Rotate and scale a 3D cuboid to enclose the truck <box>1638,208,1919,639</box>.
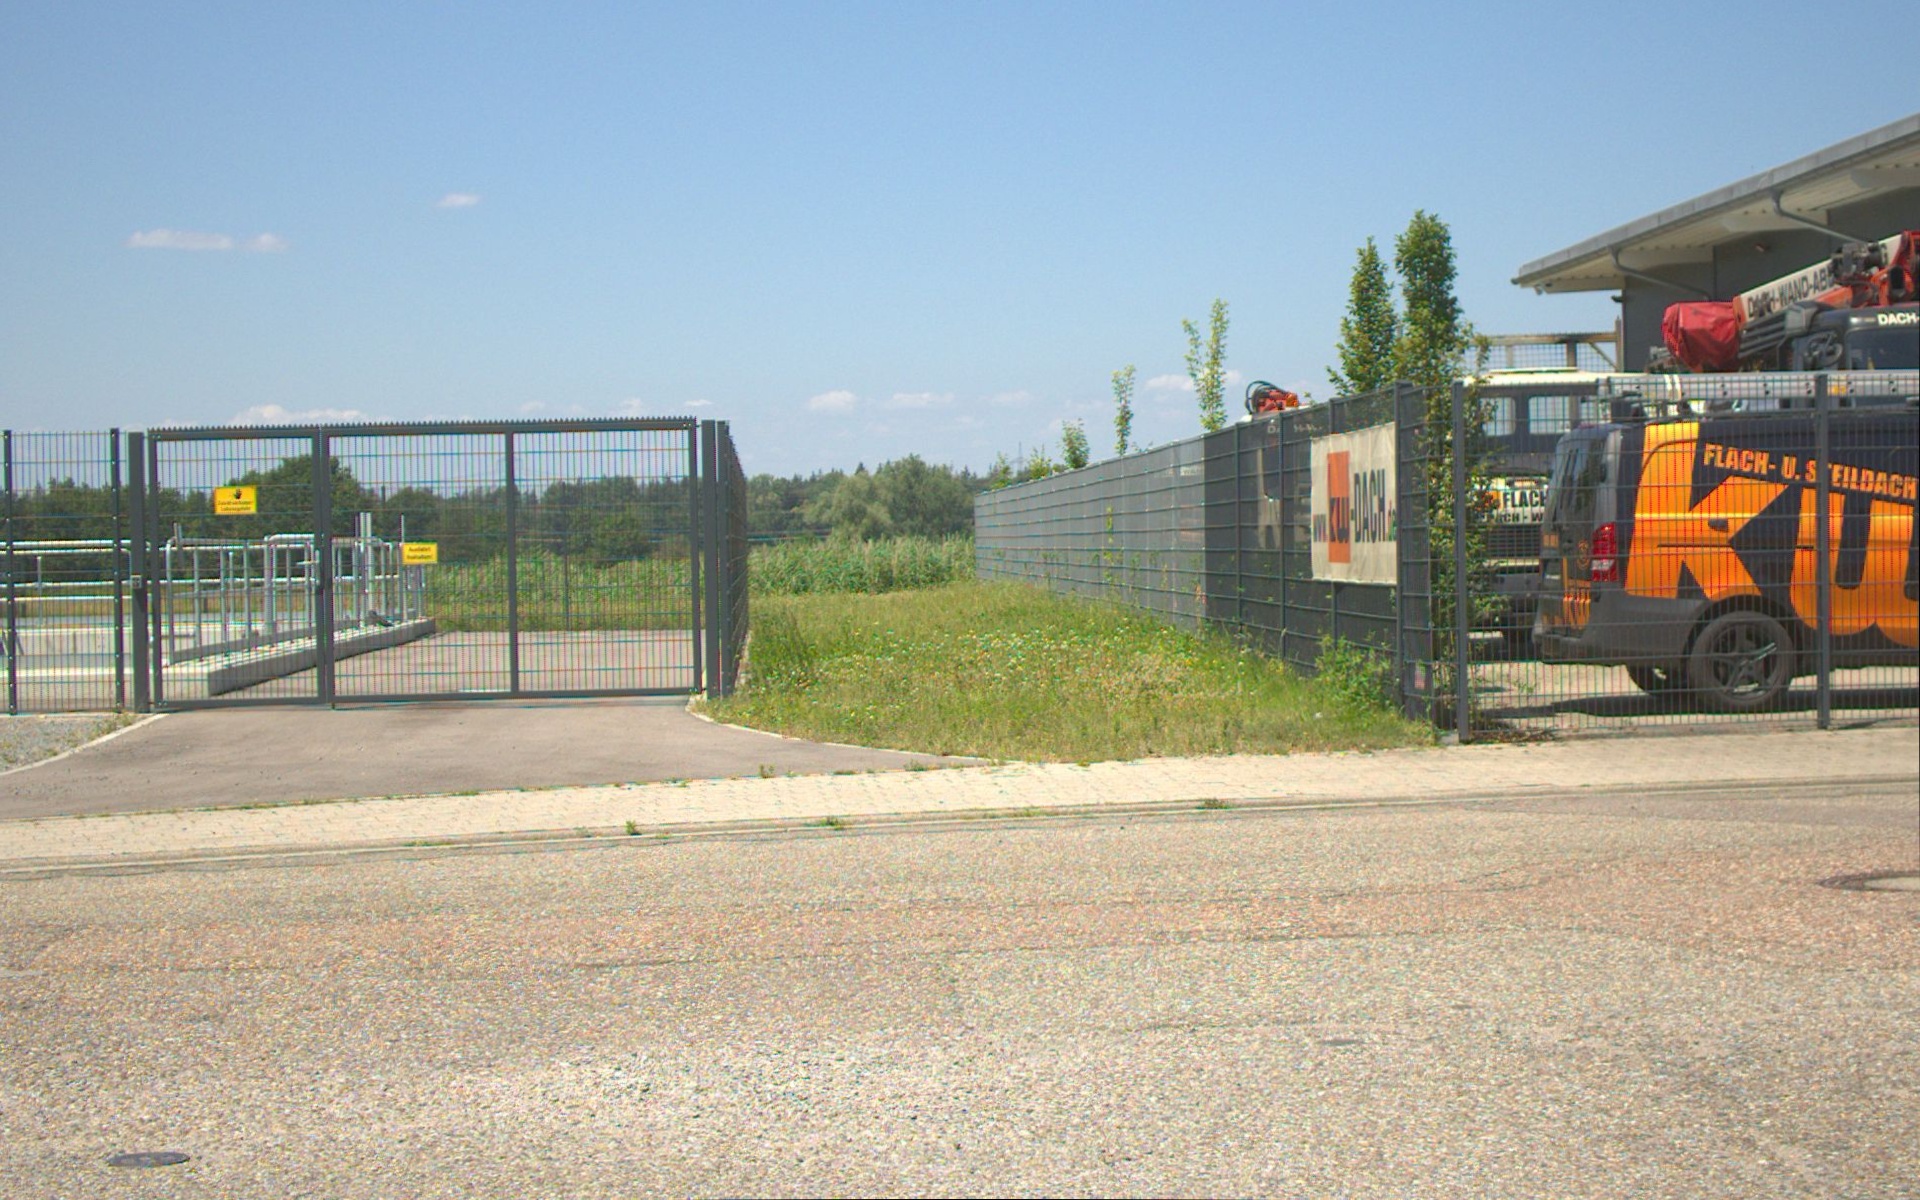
[{"bbox_3d":[9.206,-1.703,34.907,2.921,3.915,6.937,-1,1,-3],"label":"truck"}]

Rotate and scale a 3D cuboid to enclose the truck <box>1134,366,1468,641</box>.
[{"bbox_3d":[3.893,-1.122,40.873,2.921,2.927,6.937,-1,1,-3],"label":"truck"}]

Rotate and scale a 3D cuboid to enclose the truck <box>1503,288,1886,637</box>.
[{"bbox_3d":[8.923,-1.640,42.649,2.921,3.915,6.937,-1,1,-3],"label":"truck"}]

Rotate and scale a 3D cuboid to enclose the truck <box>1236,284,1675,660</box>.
[{"bbox_3d":[4.392,-1.131,31.970,2.726,3.051,6.937,-1,1,-3],"label":"truck"}]

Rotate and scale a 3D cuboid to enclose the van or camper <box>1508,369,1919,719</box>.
[{"bbox_3d":[6.287,-0.424,22.690,4.936,2.156,2.000,-1,2,-2],"label":"van or camper"}]
